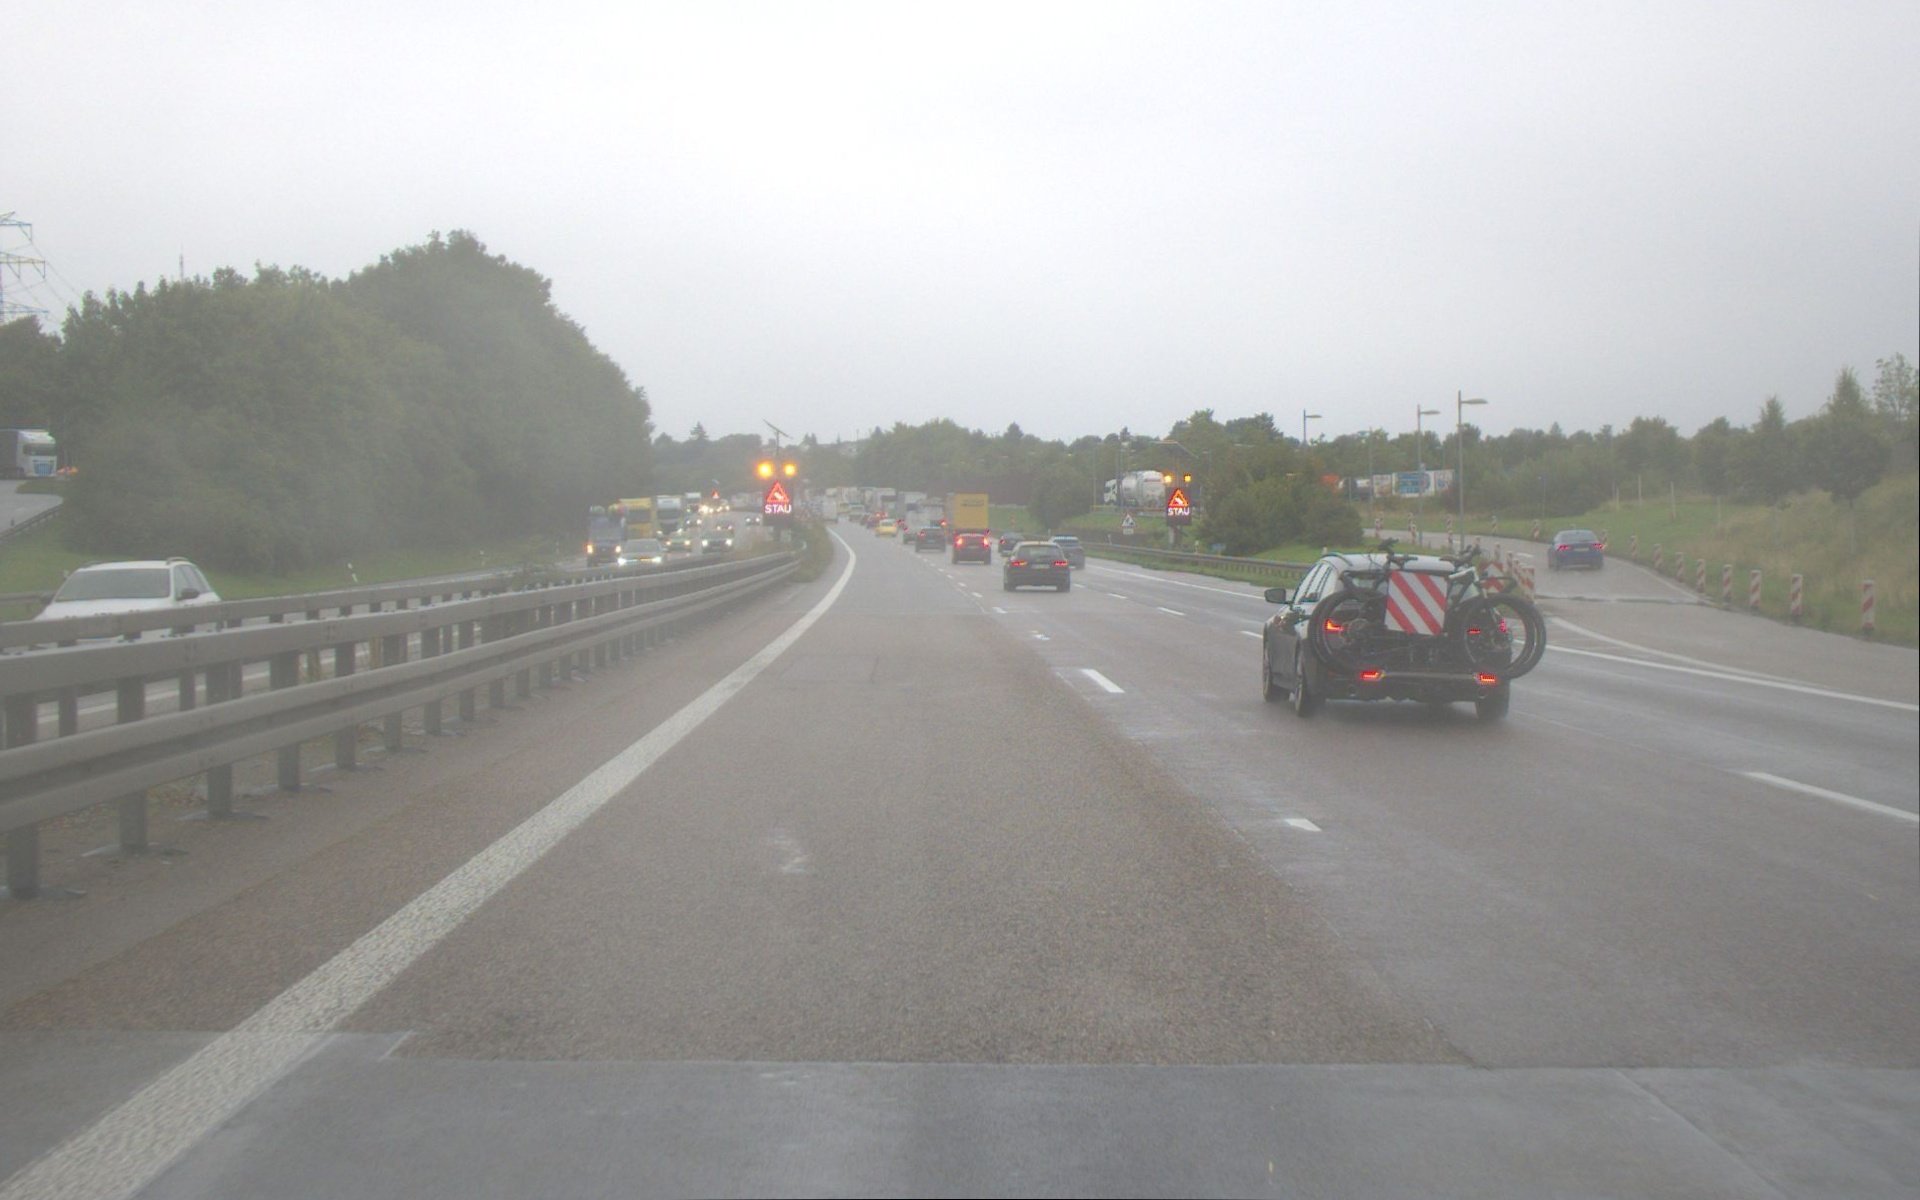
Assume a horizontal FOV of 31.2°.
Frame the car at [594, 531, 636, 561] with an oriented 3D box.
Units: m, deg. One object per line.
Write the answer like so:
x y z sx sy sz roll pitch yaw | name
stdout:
-18.496 -2.915 184.290 1.874 1.488 4.514 -2 1 -1 | car

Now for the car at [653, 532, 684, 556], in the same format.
-20.202 -3.879 238.379 1.874 1.597 4.514 -2 1 -1 | car

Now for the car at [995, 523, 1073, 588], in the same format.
2.102 -1.294 98.663 1.993 1.755 4.001 -1 2 -2 | car

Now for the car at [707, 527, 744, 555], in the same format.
-13.993 -3.539 205.670 1.923 1.650 4.791 -2 1 -1 | car

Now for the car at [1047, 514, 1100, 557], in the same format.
5.043 -2.874 152.792 1.993 1.755 4.001 3 1 -2 | car

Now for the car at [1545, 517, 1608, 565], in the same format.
22.970 -2.209 128.193 1.922 1.703 4.000 -1 1 5 | car

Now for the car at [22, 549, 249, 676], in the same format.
-10.465 0.115 43.975 1.757 1.456 4.762 -2 1 -1 | car

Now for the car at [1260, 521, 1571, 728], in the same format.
3.959 0.174 30.844 2.058 1.665 5.522 1 1 0 | car

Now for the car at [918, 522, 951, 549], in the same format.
-1.620 -4.133 219.498 1.993 1.623 4.001 -1 2 -2 | car

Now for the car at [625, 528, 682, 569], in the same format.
-11.934 -2.009 133.954 1.822 1.507 4.791 -1 1 -1 | car

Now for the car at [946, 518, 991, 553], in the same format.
0.392 -3.140 166.943 1.993 1.623 4.001 -1 2 -2 | car

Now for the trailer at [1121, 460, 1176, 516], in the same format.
14.424 -8.547 264.073 2.985 4.142 12.958 -1 2 -2 | trailer

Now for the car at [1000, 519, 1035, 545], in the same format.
3.723 -4.403 223.495 1.993 1.623 4.001 -1 2 -2 | car
